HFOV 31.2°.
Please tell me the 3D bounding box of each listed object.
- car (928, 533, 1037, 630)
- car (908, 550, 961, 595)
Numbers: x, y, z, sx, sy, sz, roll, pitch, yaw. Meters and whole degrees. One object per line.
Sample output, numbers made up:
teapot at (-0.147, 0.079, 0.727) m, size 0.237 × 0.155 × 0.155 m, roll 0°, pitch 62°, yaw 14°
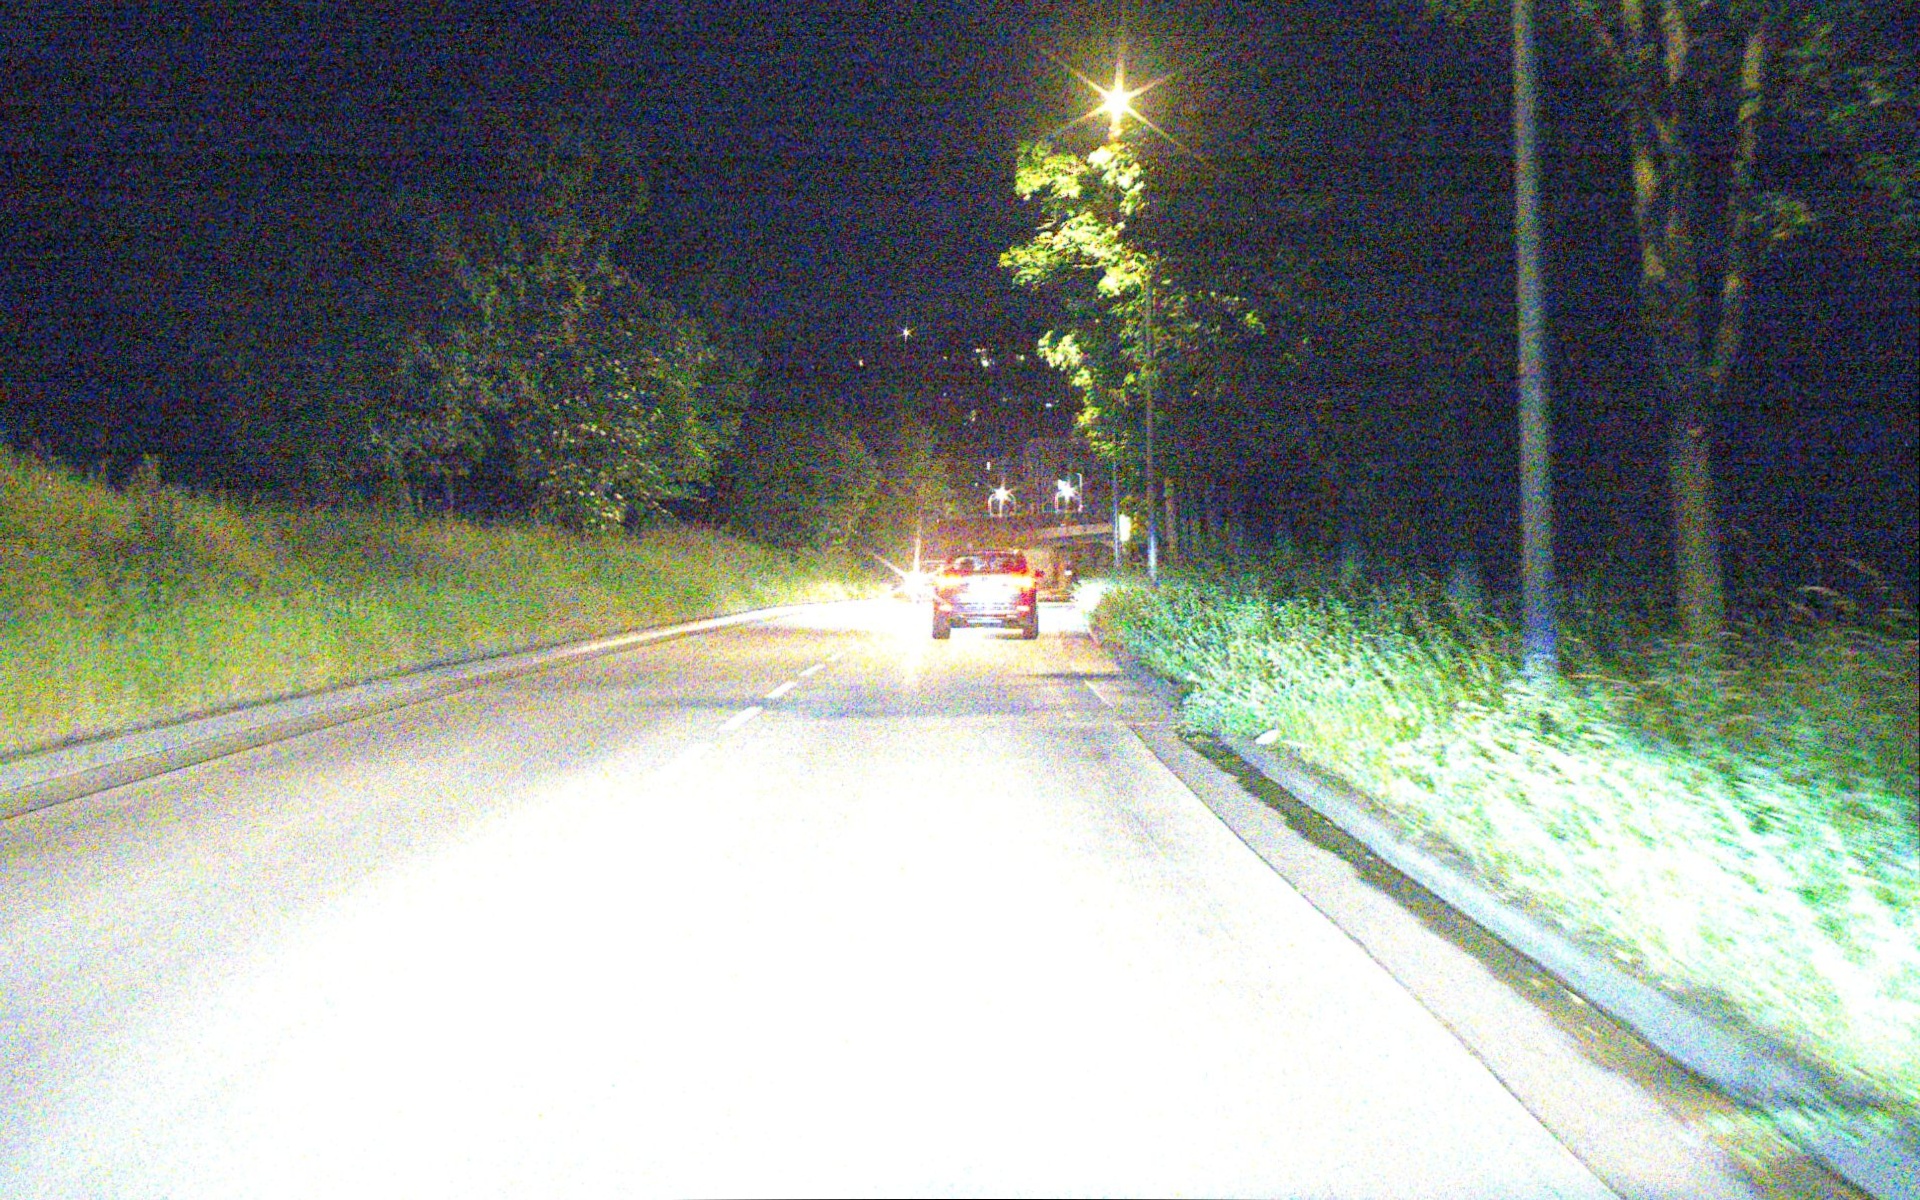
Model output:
car at (0.363, -0.331, 59.729) m, size 1.763 × 1.636 × 3.723 m, roll 0°, pitch 1°, yaw -1°
car at (-0.820, -0.921, 114.208) m, size 1.687 × 1.452 × 4.000 m, roll 0°, pitch 1°, yaw 0°
